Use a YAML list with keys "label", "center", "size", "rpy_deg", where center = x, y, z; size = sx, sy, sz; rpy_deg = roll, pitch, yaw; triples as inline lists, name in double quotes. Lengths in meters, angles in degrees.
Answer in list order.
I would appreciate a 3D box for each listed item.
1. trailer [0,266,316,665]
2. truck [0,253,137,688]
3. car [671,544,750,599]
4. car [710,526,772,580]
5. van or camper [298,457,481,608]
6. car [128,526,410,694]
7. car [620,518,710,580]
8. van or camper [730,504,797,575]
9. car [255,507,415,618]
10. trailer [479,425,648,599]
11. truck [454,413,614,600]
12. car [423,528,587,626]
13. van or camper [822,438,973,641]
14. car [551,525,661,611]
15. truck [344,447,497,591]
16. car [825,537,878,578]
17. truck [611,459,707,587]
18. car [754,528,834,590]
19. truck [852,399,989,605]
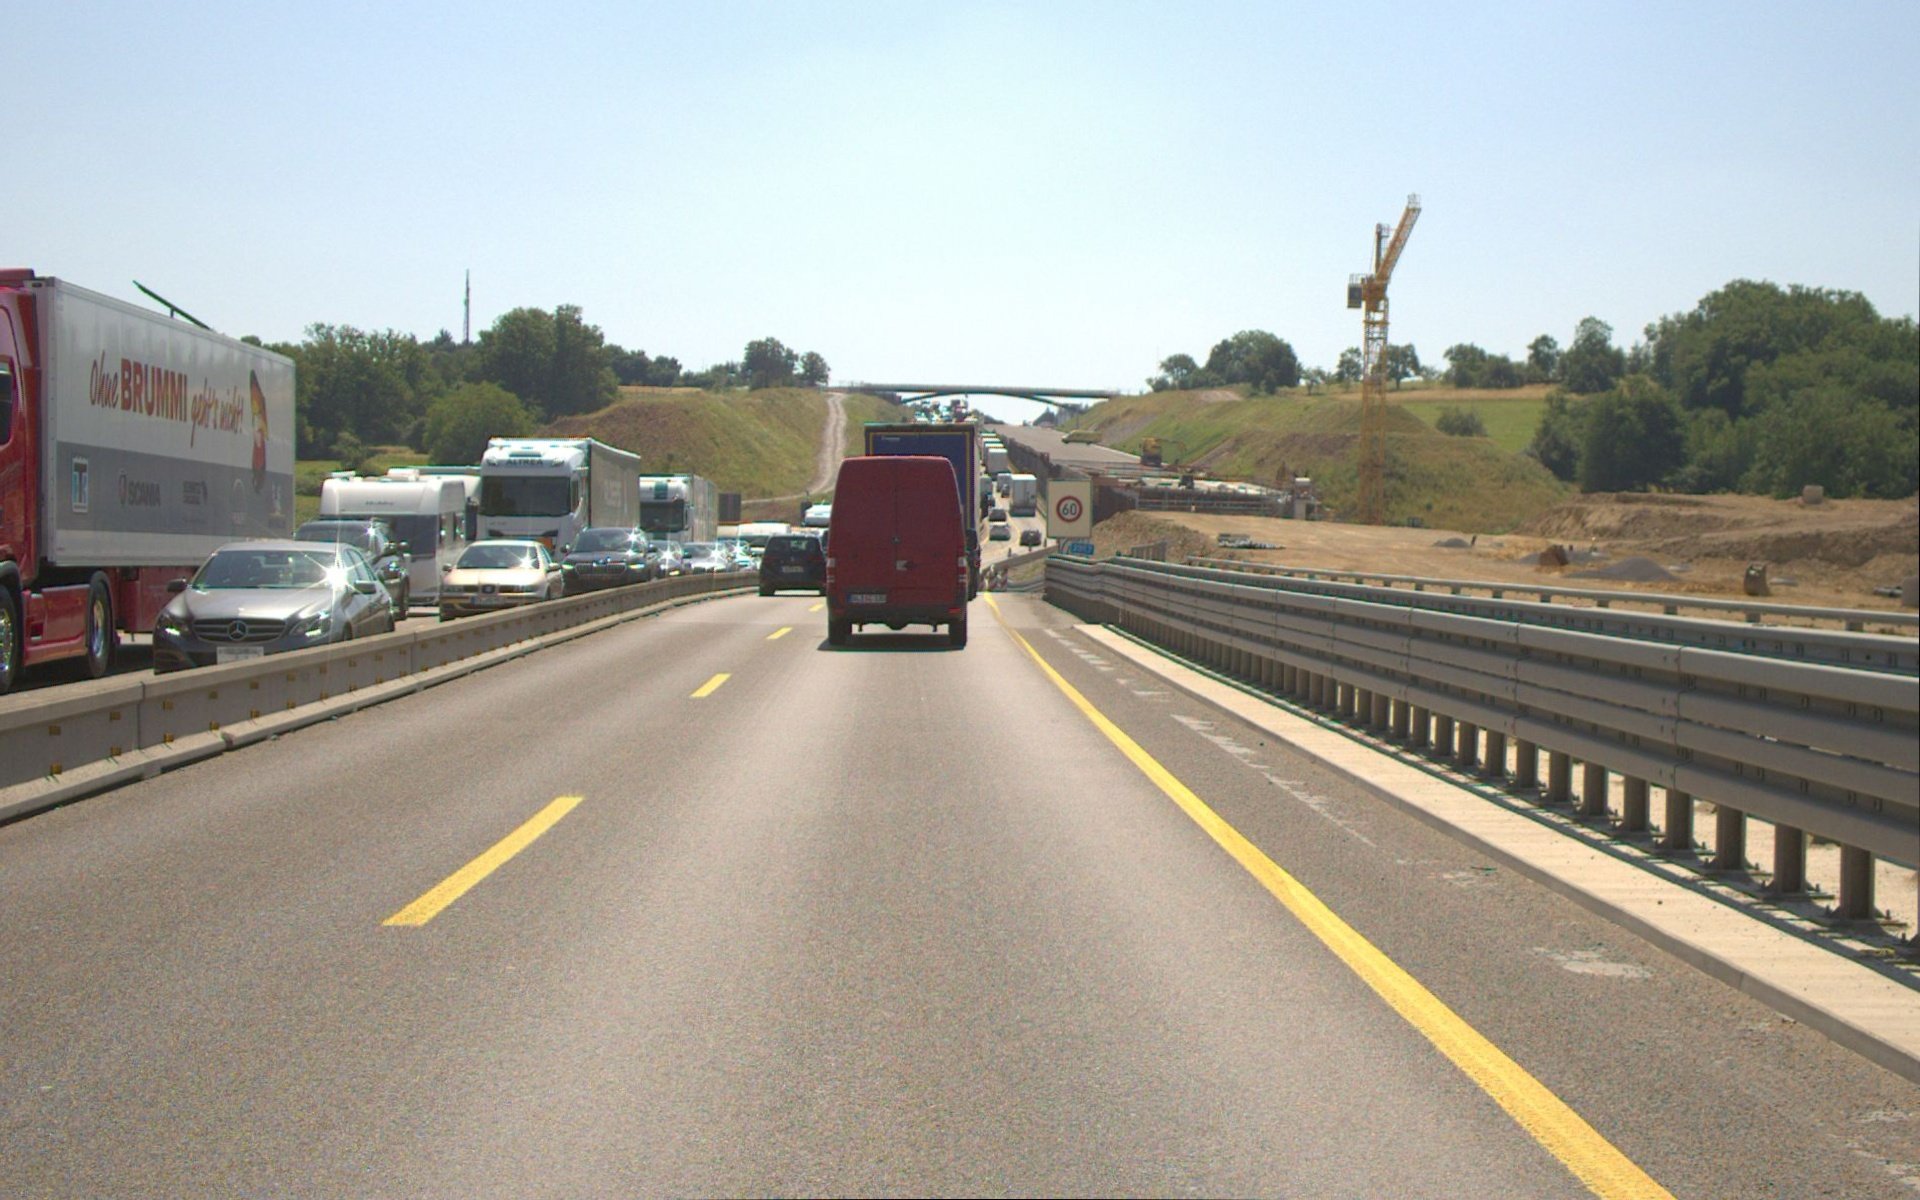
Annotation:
- label: "trailer"
  center: [-10.308, -1.584, 41.861]
  size: [2.806, 4.162, 11.799]
  rpy_deg: [1, 2, -1]
- label: "truck"
  center: [-10.281, -1.264, 33.671]
  size: [2.816, 4.023, 6.523]
  rpy_deg: [1, 2, 0]
- label: "car"
  center: [-7.157, -0.843, 98.909]
  size: [1.865, 1.454, 4.607]
  rpy_deg: [2, 1, 0]
- label: "car"
  center: [-7.075, -1.535, 111.435]
  size: [1.756, 1.641, 4.156]
  rpy_deg: [2, 1, -1]
- label: "van or camper"
  center: [-10.550, -1.261, 64.002]
  size: [2.503, 2.689, 5.244]
  rpy_deg: [0, 1, 0]
- label: "car"
  center: [-6.881, 0.040, 34.748]
  size: [1.890, 1.482, 4.920]
  rpy_deg: [3, 1, -1]
- label: "car"
  center: [-7.305, -1.282, 85.446]
  size: [1.777, 1.415, 4.538]
  rpy_deg: [2, 1, 0]
- label: "van or camper"
  center: [-7.315, -2.285, 128.449]
  size: [2.218, 2.503, 6.534]
  rpy_deg: [3, 1, -2]
- label: "car"
  center: [-10.350, -0.657, 57.234]
  size: [1.767, 1.728, 4.791]
  rpy_deg: [1, 1, 0]
- label: "trailer"
  center: [-10.746, -2.390, 94.601]
  size: [3.102, 4.449, 13.020]
  rpy_deg: [0, 1, 0]
- label: "truck"
  center: [-10.729, -2.348, 87.196]
  size: [3.078, 4.521, 7.103]
  rpy_deg: [0, 1, 1]
- label: "car"
  center: [-7.430, -0.413, 56.502]
  size: [1.901, 1.456, 4.194]
  rpy_deg: [-1, 2, 3]
- label: "van or camper"
  center: [-0.939, -0.864, 49.138]
  size: [2.029, 2.735, 4.516]
  rpy_deg: [1, 1, -2]
- label: "car"
  center: [-7.380, -0.693, 72.060]
  size: [1.847, 1.682, 4.619]
  rpy_deg: [2, 1, -1]
- label: "truck"
  center: [-14.844, -2.247, 95.243]
  size: [2.904, 3.752, 8.368]
  rpy_deg: [1, 1, 0]
- label: "car"
  center: [-4.273, -1.692, 135.959]
  size: [2.012, 1.539, 4.133]
  rpy_deg: [2, 1, -1]
- label: "truck"
  center: [-10.571, -2.724, 121.046]
  size: [2.806, 4.377, 6.225]
  rpy_deg: [0, 1, 0]
- label: "car"
  center: [-4.296, -1.082, 89.593]
  size: [2.012, 1.539, 4.133]
  rpy_deg: [1, 1, -2]
- label: "truck"
  center: [-1.018, -2.328, 82.758]
  size: [3.020, 4.677, 6.933]
  rpy_deg: [-1, 1, -2]
